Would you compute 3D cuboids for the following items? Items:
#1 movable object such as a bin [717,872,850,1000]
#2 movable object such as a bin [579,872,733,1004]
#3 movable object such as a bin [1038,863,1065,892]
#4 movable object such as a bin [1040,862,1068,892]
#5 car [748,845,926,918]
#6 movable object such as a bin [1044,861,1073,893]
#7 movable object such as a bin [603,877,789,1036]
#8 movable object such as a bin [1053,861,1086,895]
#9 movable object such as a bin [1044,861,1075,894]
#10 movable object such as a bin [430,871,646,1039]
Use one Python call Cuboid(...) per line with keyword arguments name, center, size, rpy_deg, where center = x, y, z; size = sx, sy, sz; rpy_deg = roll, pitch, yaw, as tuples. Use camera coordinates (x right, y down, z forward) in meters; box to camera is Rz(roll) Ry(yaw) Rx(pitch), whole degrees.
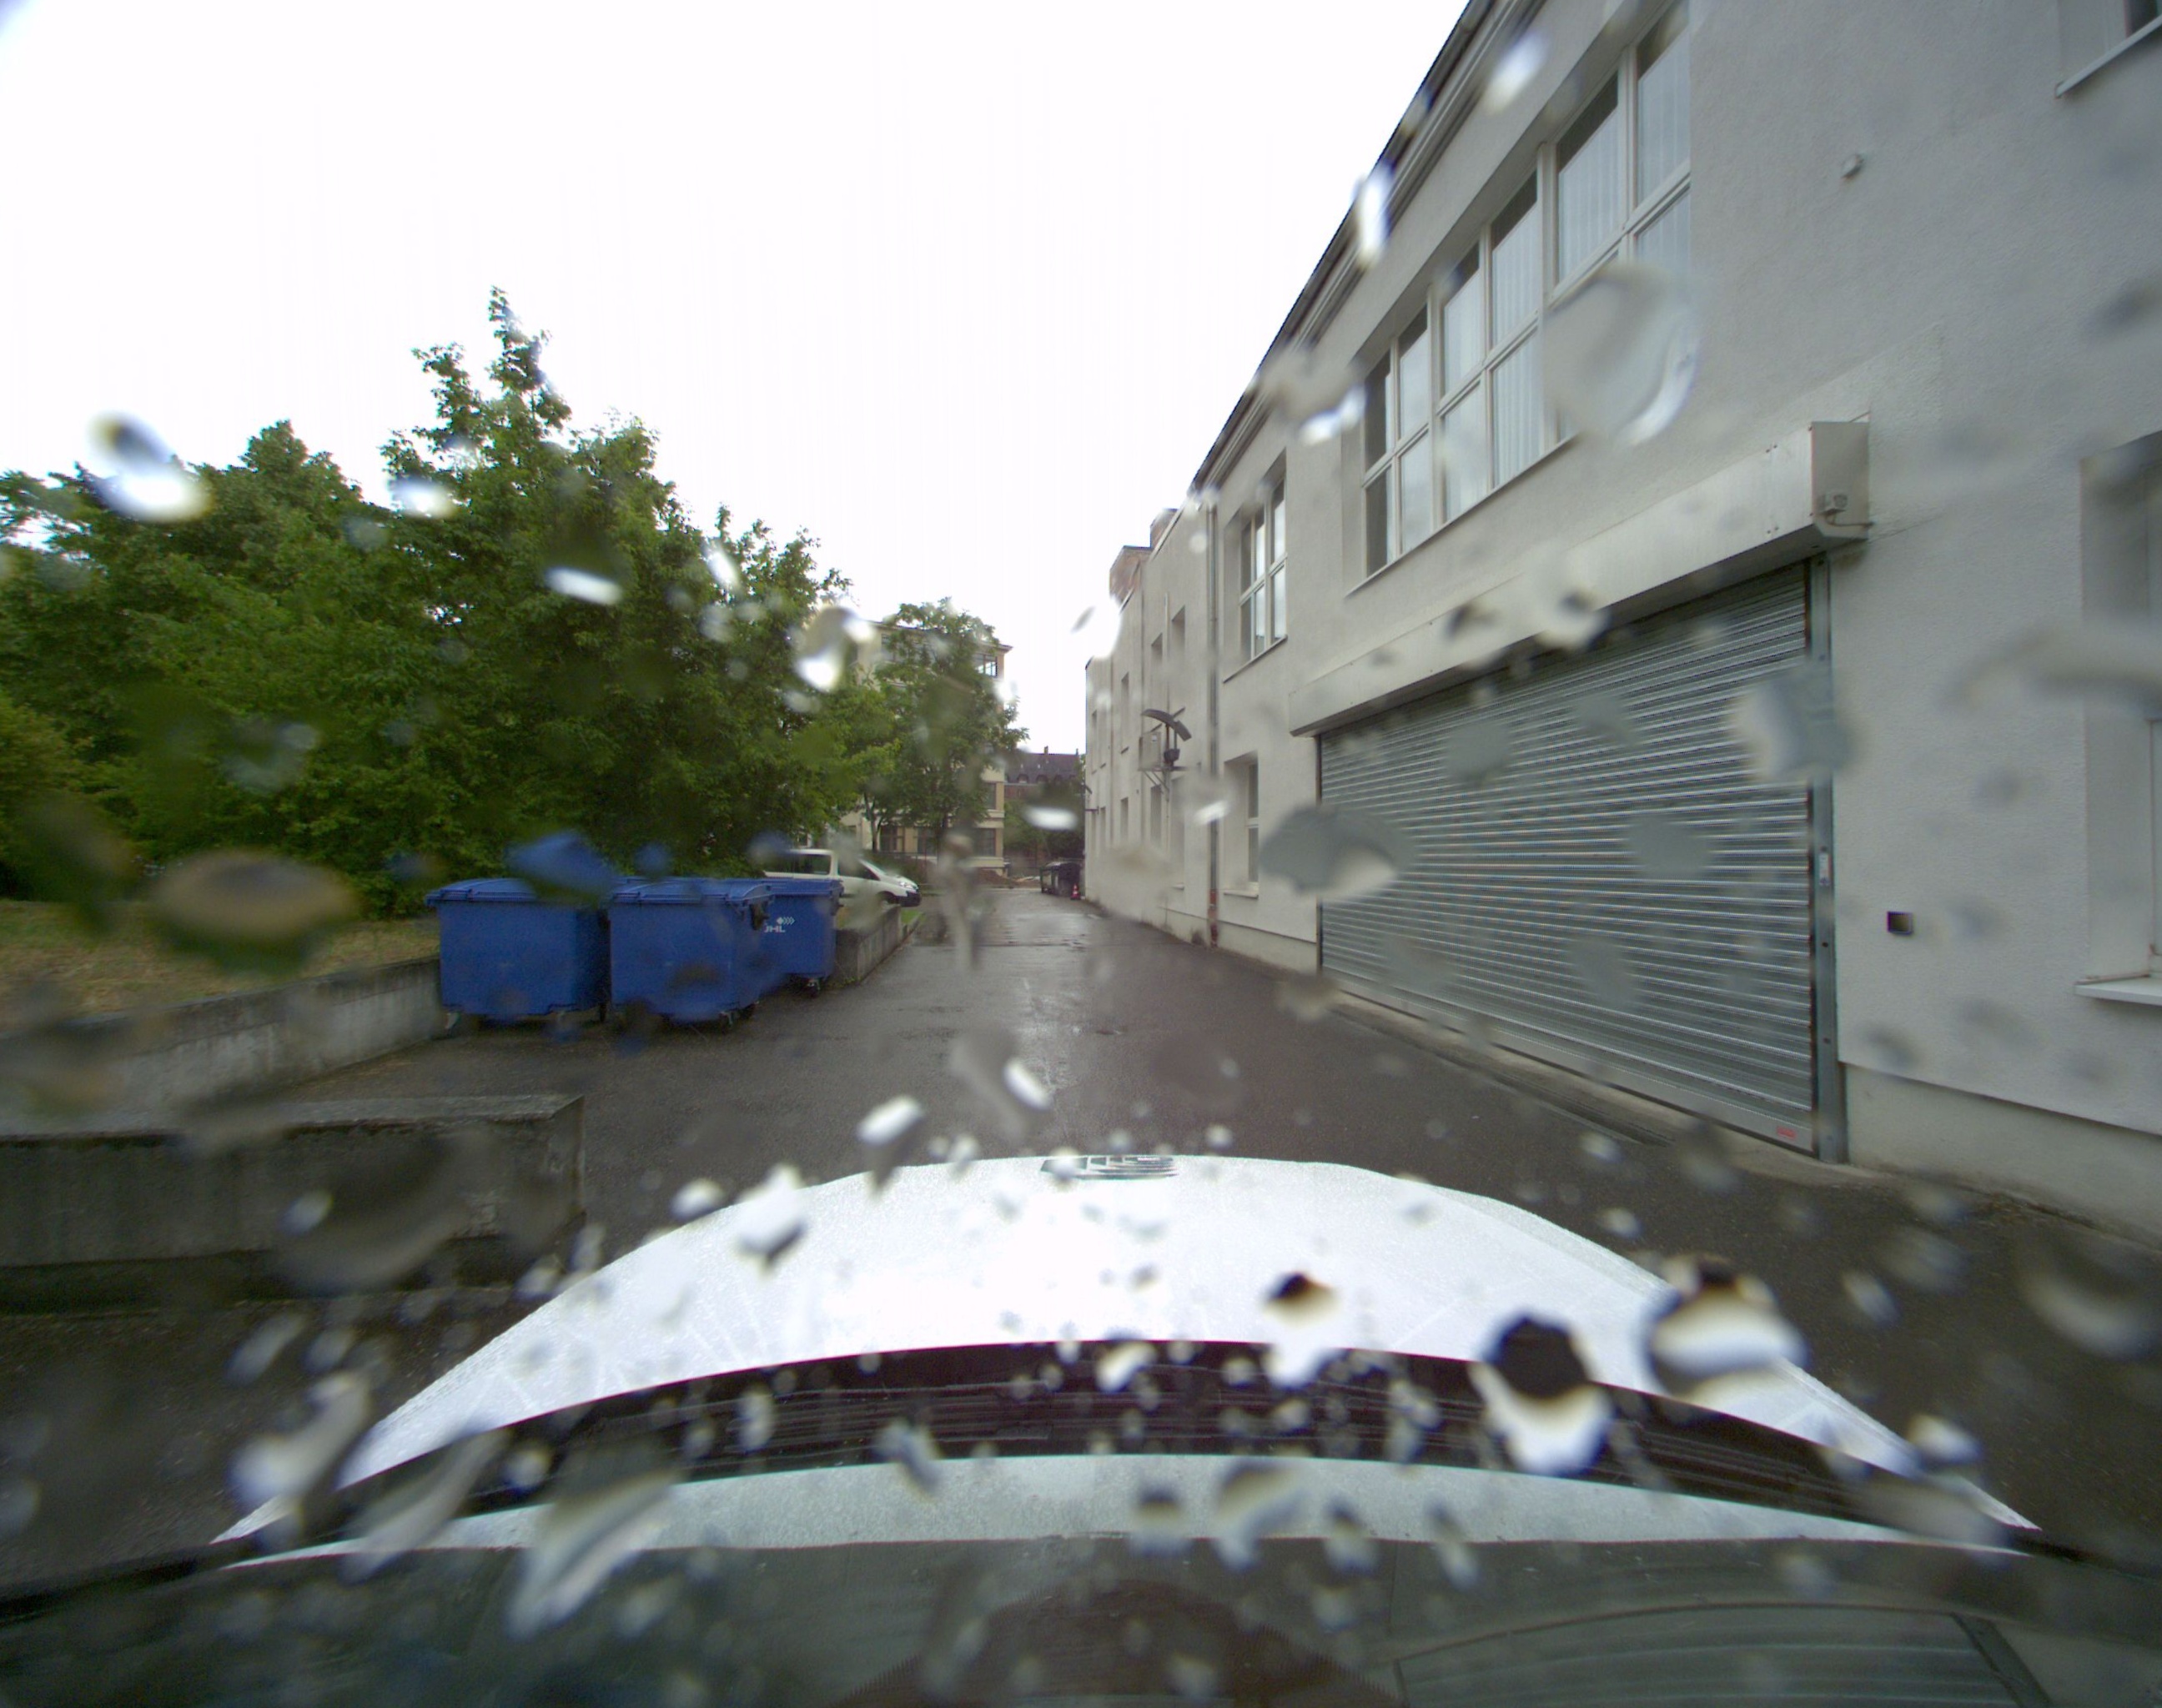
Cuboid(name="movable object such as a bin", center=(-3.345, 0.890, 9.288), size=(1.220, 1.337, 1.004), rpy_deg=(0, 0, -7))
Cuboid(name="movable object such as a bin", center=(-4.645, 0.881, 9.004), size=(1.220, 1.337, 1.004), rpy_deg=(0, 0, -7))
Cuboid(name="movable object such as a bin", center=(-1.494, 1.183, 40.597), size=(1.214, 1.437, 1.255), rpy_deg=(1, -3, -10))
Cuboid(name="movable object such as a bin", center=(-1.292, 1.118, 39.238), size=(1.214, 1.437, 1.255), rpy_deg=(1, -3, -10))
Cuboid(name="car", center=(-7.122, 0.783, 24.268), size=(4.775, 2.013, 1.995), rpy_deg=(-1, 0, -7))
Cuboid(name="movable object such as a bin", center=(-1.051, 1.089, 37.887), size=(1.214, 1.468, 1.231), rpy_deg=(1, -3, -10))
Cuboid(name="movable object such as a bin", center=(-3.494, 0.886, 7.537), size=(1.200, 1.337, 1.115), rpy_deg=(0, -1, -3))
Cuboid(name="movable object such as a bin", center=(-0.502, 1.026, 34.617), size=(1.214, 1.437, 1.231), rpy_deg=(1, -3, -10))
Cuboid(name="movable object such as a bin", center=(-0.974, 1.053, 36.251), size=(1.214, 1.437, 1.290), rpy_deg=(1, -3, -9))
Cuboid(name="movable object such as a bin", center=(-4.800, 0.861, 7.328), size=(1.201, 1.337, 1.114), rpy_deg=(2, 1, -7))
